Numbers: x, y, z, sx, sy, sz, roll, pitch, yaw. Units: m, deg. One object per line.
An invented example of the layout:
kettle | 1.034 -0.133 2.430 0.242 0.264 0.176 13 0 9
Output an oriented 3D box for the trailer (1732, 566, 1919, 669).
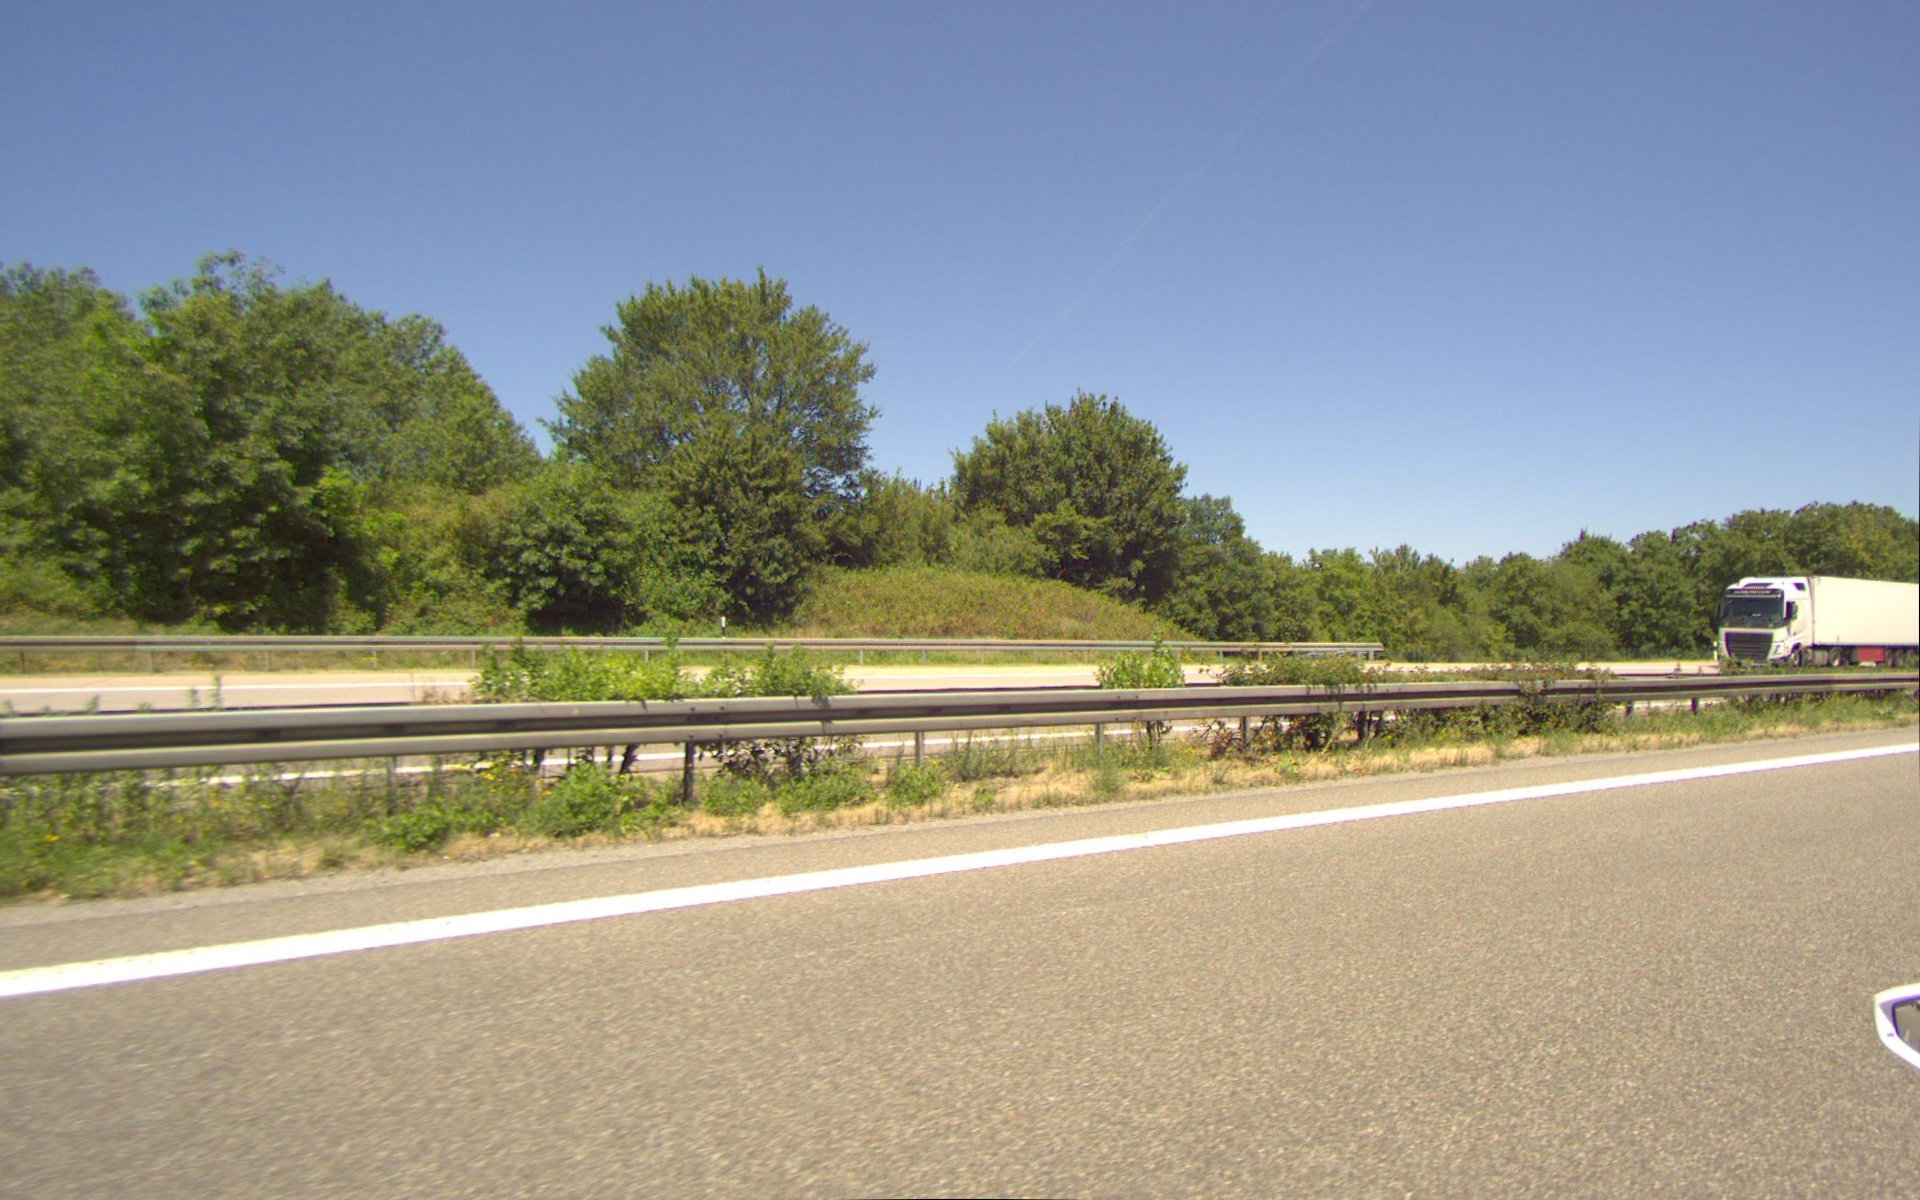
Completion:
trailer | 42.071 0.934 47.900 13.423 4.420 3.297 2 -1 -29

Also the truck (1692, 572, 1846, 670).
truck | 35.632 0.940 44.237 6.027 4.004 3.246 2 0 -29
